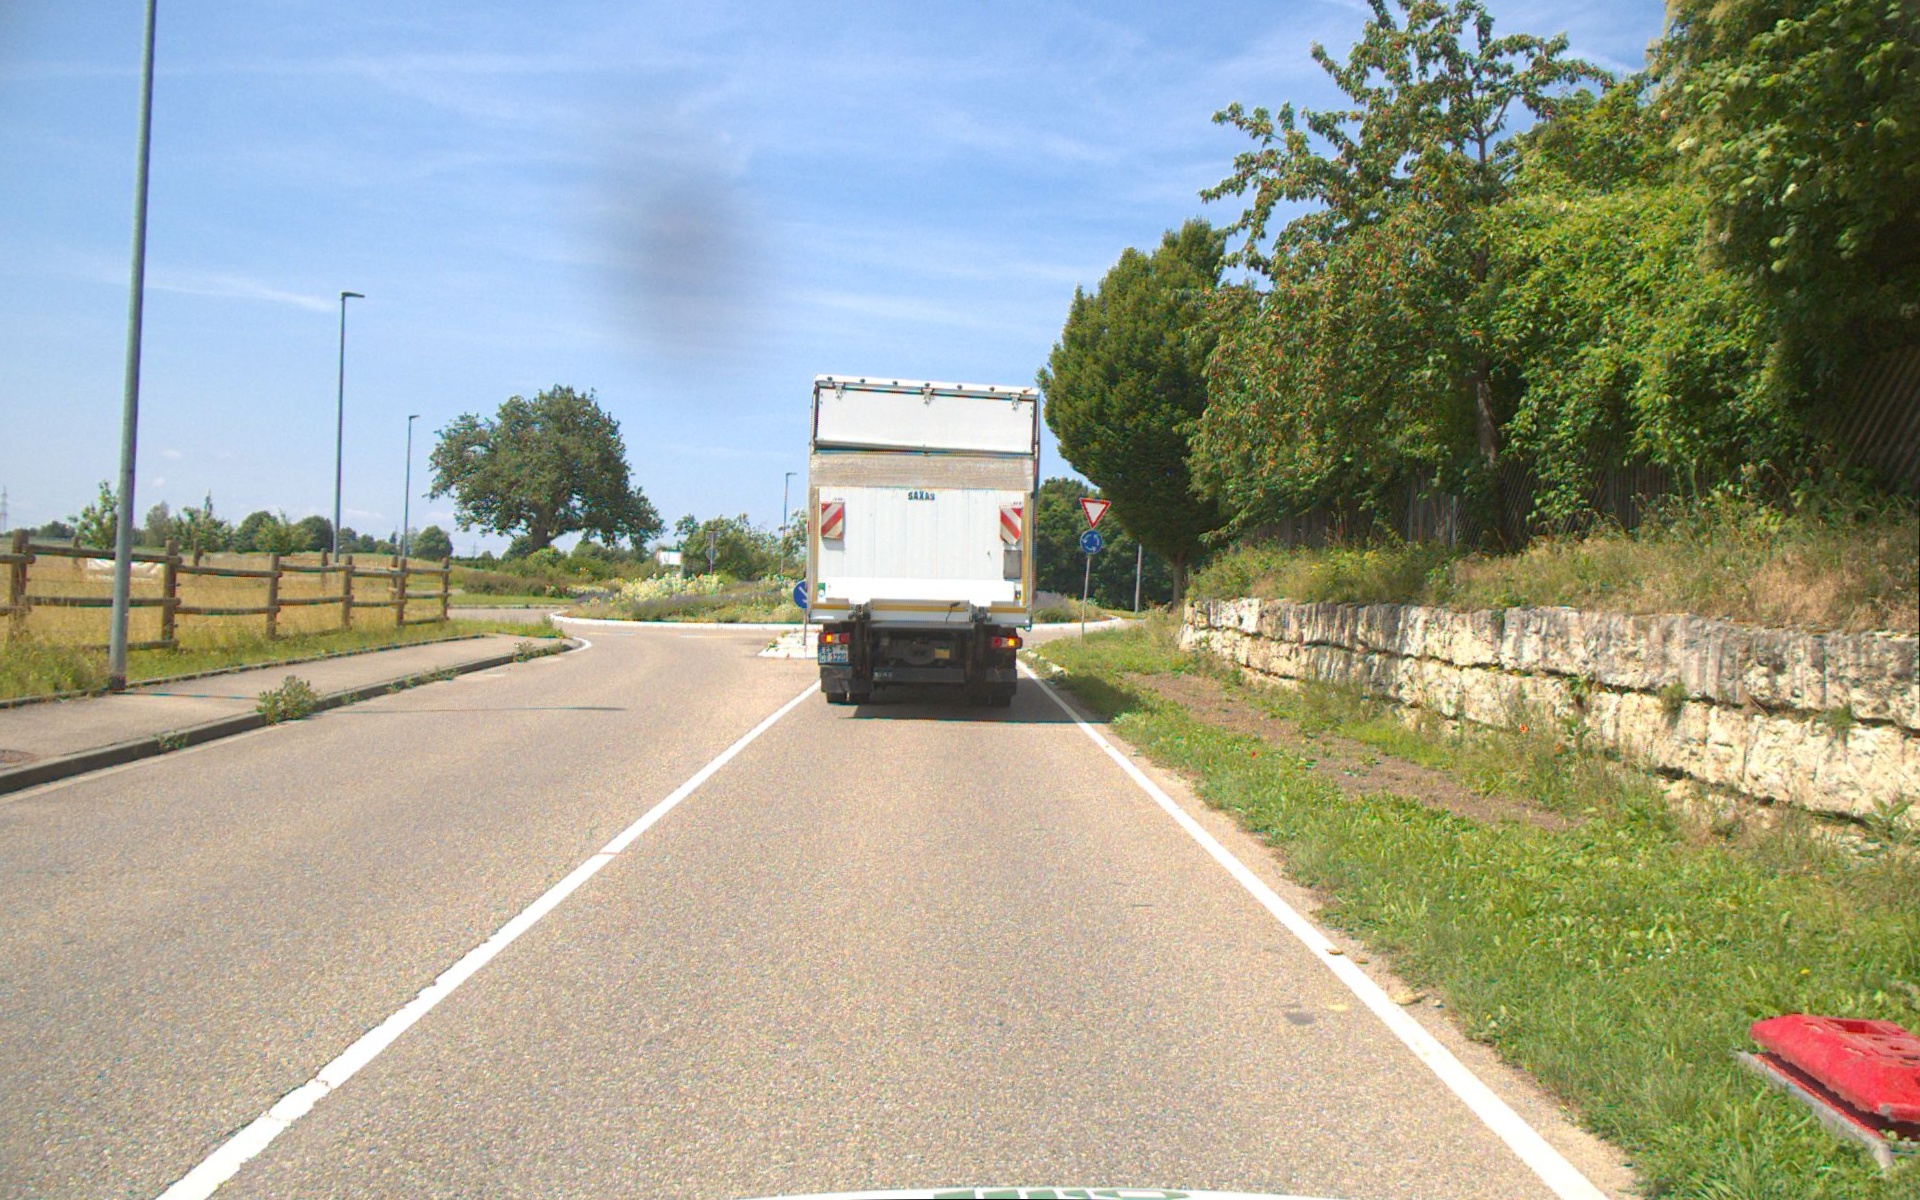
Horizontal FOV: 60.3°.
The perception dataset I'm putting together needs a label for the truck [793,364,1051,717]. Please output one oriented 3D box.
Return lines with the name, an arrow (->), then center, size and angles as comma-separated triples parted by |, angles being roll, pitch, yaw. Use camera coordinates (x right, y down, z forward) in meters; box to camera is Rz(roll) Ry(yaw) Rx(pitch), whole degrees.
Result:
truck -> -0.574, -0.686, 22.506 | 2.711, 3.735, 9.379 | 1, 1, -2
